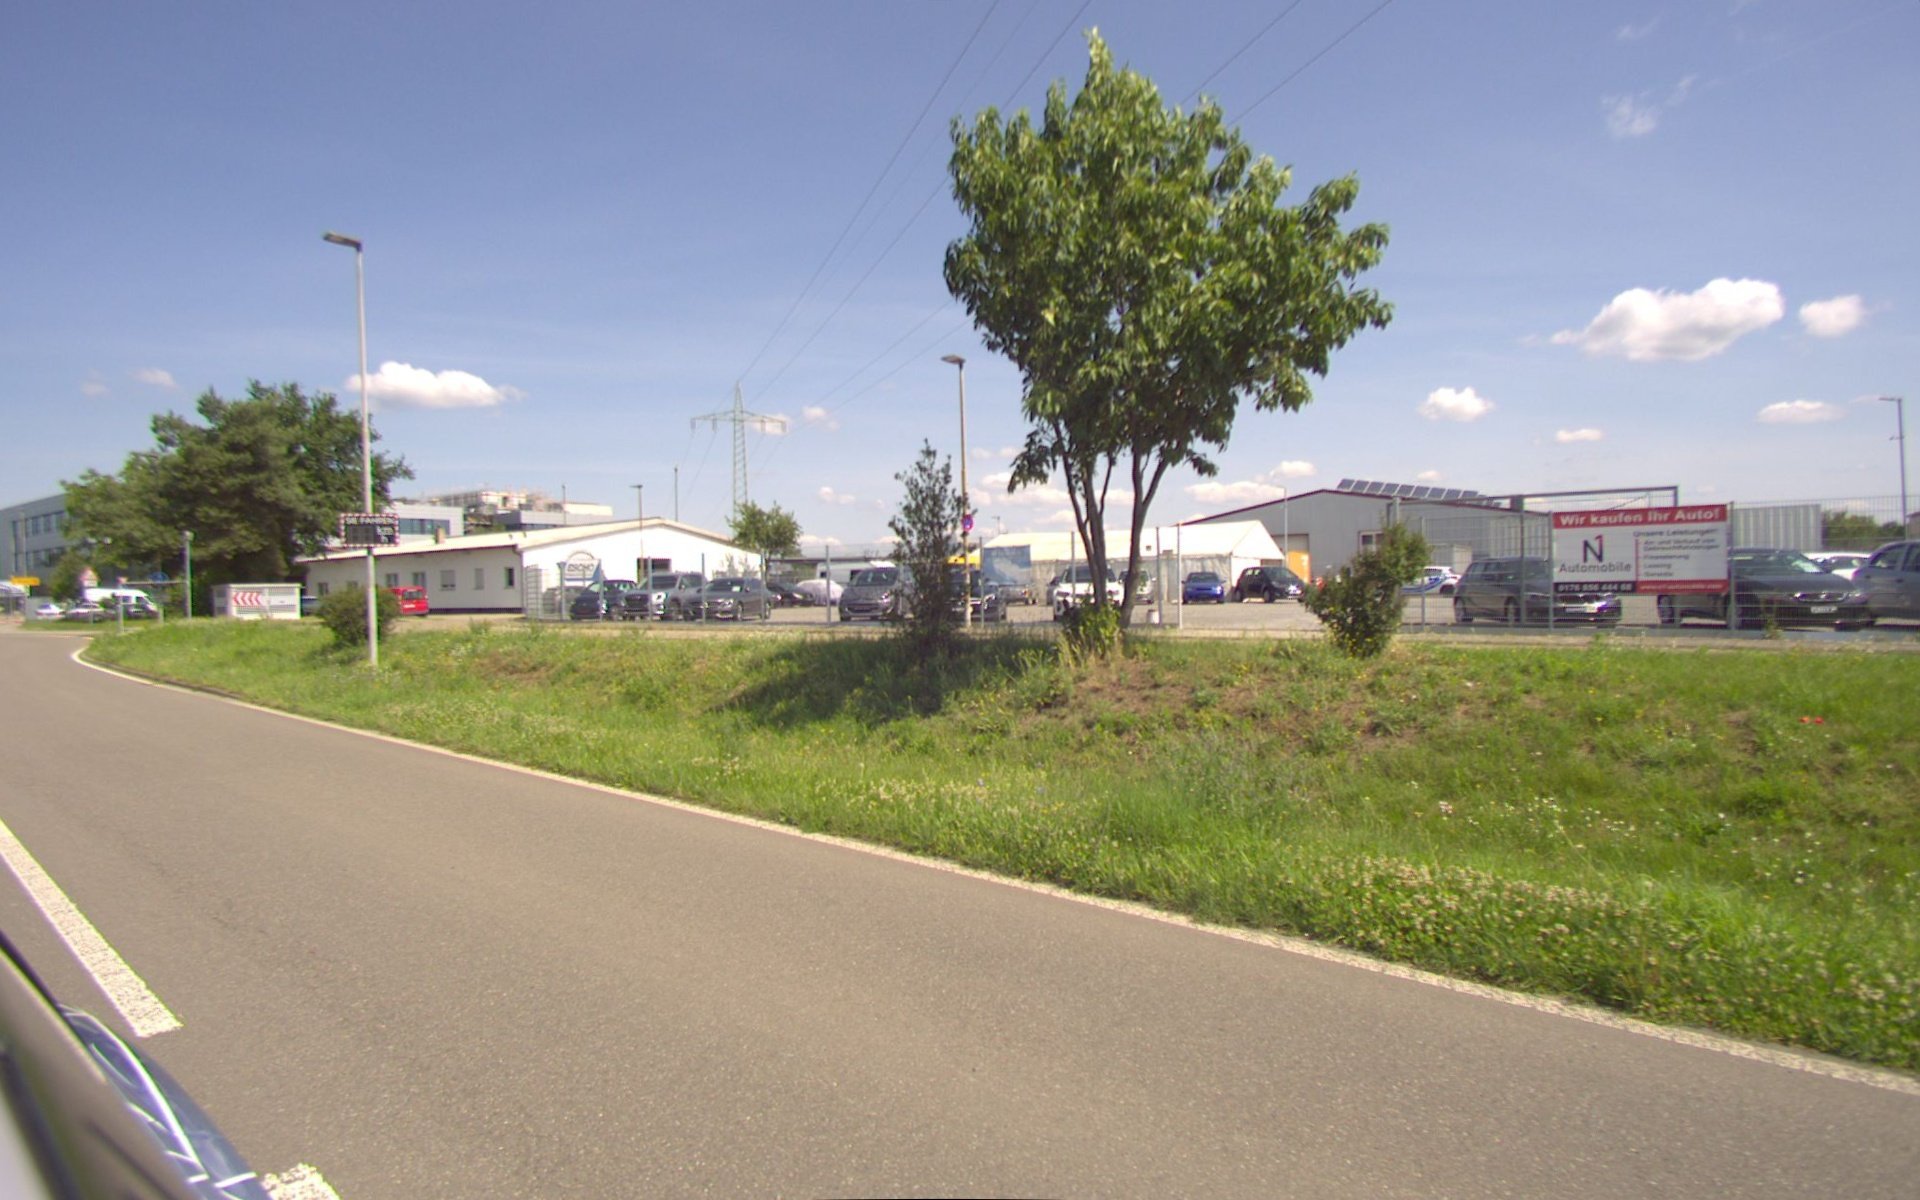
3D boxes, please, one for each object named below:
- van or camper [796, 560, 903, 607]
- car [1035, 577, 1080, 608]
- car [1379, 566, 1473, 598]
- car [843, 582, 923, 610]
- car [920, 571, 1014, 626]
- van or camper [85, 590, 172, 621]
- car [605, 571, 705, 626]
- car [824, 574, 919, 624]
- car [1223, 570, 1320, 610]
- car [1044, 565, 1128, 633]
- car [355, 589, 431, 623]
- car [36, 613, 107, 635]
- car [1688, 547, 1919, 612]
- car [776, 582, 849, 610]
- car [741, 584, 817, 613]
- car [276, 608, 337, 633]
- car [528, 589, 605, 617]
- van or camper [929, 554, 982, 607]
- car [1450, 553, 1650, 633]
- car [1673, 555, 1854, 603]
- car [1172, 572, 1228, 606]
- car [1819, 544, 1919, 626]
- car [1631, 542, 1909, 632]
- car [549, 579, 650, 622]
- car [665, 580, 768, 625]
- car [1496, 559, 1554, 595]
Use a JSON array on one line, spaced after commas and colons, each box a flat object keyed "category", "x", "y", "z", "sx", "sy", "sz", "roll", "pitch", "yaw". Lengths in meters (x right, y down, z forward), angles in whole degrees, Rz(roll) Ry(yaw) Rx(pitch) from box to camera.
[{"category": "van or camper", "x": -6.632, "y": -0.942, "z": 60.124, "sx": 6.759, "sy": 2.619, "sz": 1.975, "roll": -1, "pitch": 1, "yaw": 37}, {"category": "car", "x": 4.511, "y": -0.376, "z": 46.363, "sx": 1.920, "sy": 1.320, "sz": 3.991, "roll": -2, "pitch": 1, "yaw": 8}, {"category": "car", "x": 22.879, "y": -0.865, "z": 49.674, "sx": 3.987, "sy": 1.453, "sz": 1.862, "roll": -1, "pitch": 1, "yaw": 32}, {"category": "car", "x": -3.972, "y": -0.205, "z": 52.552, "sx": 1.998, "sy": 1.320, "sz": 3.949, "roll": -1, "pitch": 1, "yaw": 38}, {"category": "car", "x": 0.271, "y": -0.072, "z": 27.325, "sx": 1.921, "sy": 1.320, "sz": 3.989, "roll": -2, "pitch": 1, "yaw": 9}, {"category": "van or camper", "x": -73.278, "y": 0.450, "z": 89.303, "sx": 5.492, "sy": 2.516, "sz": 2.086, "roll": -2, "pitch": 1, "yaw": -26}, {"category": "car", "x": -10.342, "y": -0.088, "z": 34.622, "sx": 1.703, "sy": 1.717, "sz": 4.099, "roll": -2, "pitch": 1, "yaw": 8}, {"category": "car", "x": -2.500, "y": -0.066, "z": 29.497, "sx": 1.920, "sy": 1.320, "sz": 3.991, "roll": -2, "pitch": 1, "yaw": 8}, {"category": "car", "x": 13.351, "y": -0.424, "z": 43.594, "sx": 1.909, "sy": 1.585, "sz": 4.013, "roll": -2, "pitch": 1, "yaw": -20}, {"category": "car", "x": 3.216, "y": -0.070, "z": 25.760, "sx": 1.920, "sy": 1.552, "sz": 3.991, "roll": -2, "pitch": 1, "yaw": 8}, {"category": "car", "x": -31.123, "y": 0.333, "z": 55.538, "sx": 4.220, "sy": 1.757, "sz": 1.976, "roll": -1, "pitch": 1, "yaw": 35}, {"category": "car", "x": -68.335, "y": 1.808, "z": 77.848, "sx": 2.000, "sy": 1.530, "sz": 3.943, "roll": 0, "pitch": 1, "yaw": 43}, {"category": "car", "x": 21.706, "y": -0.522, "z": 26.136, "sx": 4.201, "sy": 1.497, "sz": 1.994, "roll": -2, "pitch": 1, "yaw": 10}, {"category": "car", "x": -8.417, "y": -0.218, "z": 57.630, "sx": 3.993, "sy": 1.444, "sz": 1.902, "roll": -1, "pitch": 1, "yaw": 37}, {"category": "car", "x": -9.936, "y": -0.074, "z": 55.427, "sx": 3.993, "sy": 1.444, "sz": 1.902, "roll": -1, "pitch": 1, "yaw": 37}, {"category": "car", "x": -41.290, "y": 1.279, "z": 63.886, "sx": 4.512, "sy": 1.419, "sz": 1.974, "roll": -1, "pitch": 1, "yaw": 40}, {"category": "car", "x": -23.760, "y": 0.151, "z": 61.168, "sx": 1.930, "sy": 1.536, "sz": 3.958, "roll": -1, "pitch": 1, "yaw": 31}, {"category": "van or camper", "x": -0.152, "y": -0.945, "z": 49.525, "sx": 1.872, "sy": 2.393, "sz": 5.328, "roll": -2, "pitch": 1, "yaw": 8}, {"category": "car", "x": 11.222, "y": -0.162, "z": 19.608, "sx": 1.920, "sy": 1.320, "sz": 3.991, "roll": -2, "pitch": 1, "yaw": 8}, {"category": "car", "x": 24.852, "y": -0.655, "z": 31.425, "sx": 3.953, "sy": 1.320, "sz": 1.839, "roll": -2, "pitch": 1, "yaw": 8}, {"category": "car", "x": 10.268, "y": -0.496, "z": 43.550, "sx": 1.920, "sy": 1.320, "sz": 3.991, "roll": -2, "pitch": 1, "yaw": 8}, {"category": "car", "x": 16.365, "y": -0.271, "z": 16.341, "sx": 1.920, "sy": 1.320, "sz": 3.991, "roll": -2, "pitch": 1, "yaw": 8}, {"category": "car", "x": 13.653, "y": -0.227, "z": 17.420, "sx": 1.920, "sy": 1.320, "sz": 3.991, "roll": -2, "pitch": 1, "yaw": 8}, {"category": "car", "x": -12.869, "y": -0.001, "z": 36.378, "sx": 1.783, "sy": 1.412, "sz": 3.556, "roll": -1, "pitch": 1, "yaw": 13}, {"category": "car", "x": -7.801, "y": 0.032, "z": 32.785, "sx": 1.920, "sy": 1.320, "sz": 3.991, "roll": -2, "pitch": 1, "yaw": 8}, {"category": "car", "x": 28.292, "y": -1.157, "z": 50.616, "sx": 1.997, "sy": 1.707, "sz": 3.950, "roll": -1, "pitch": 1, "yaw": 37}]
